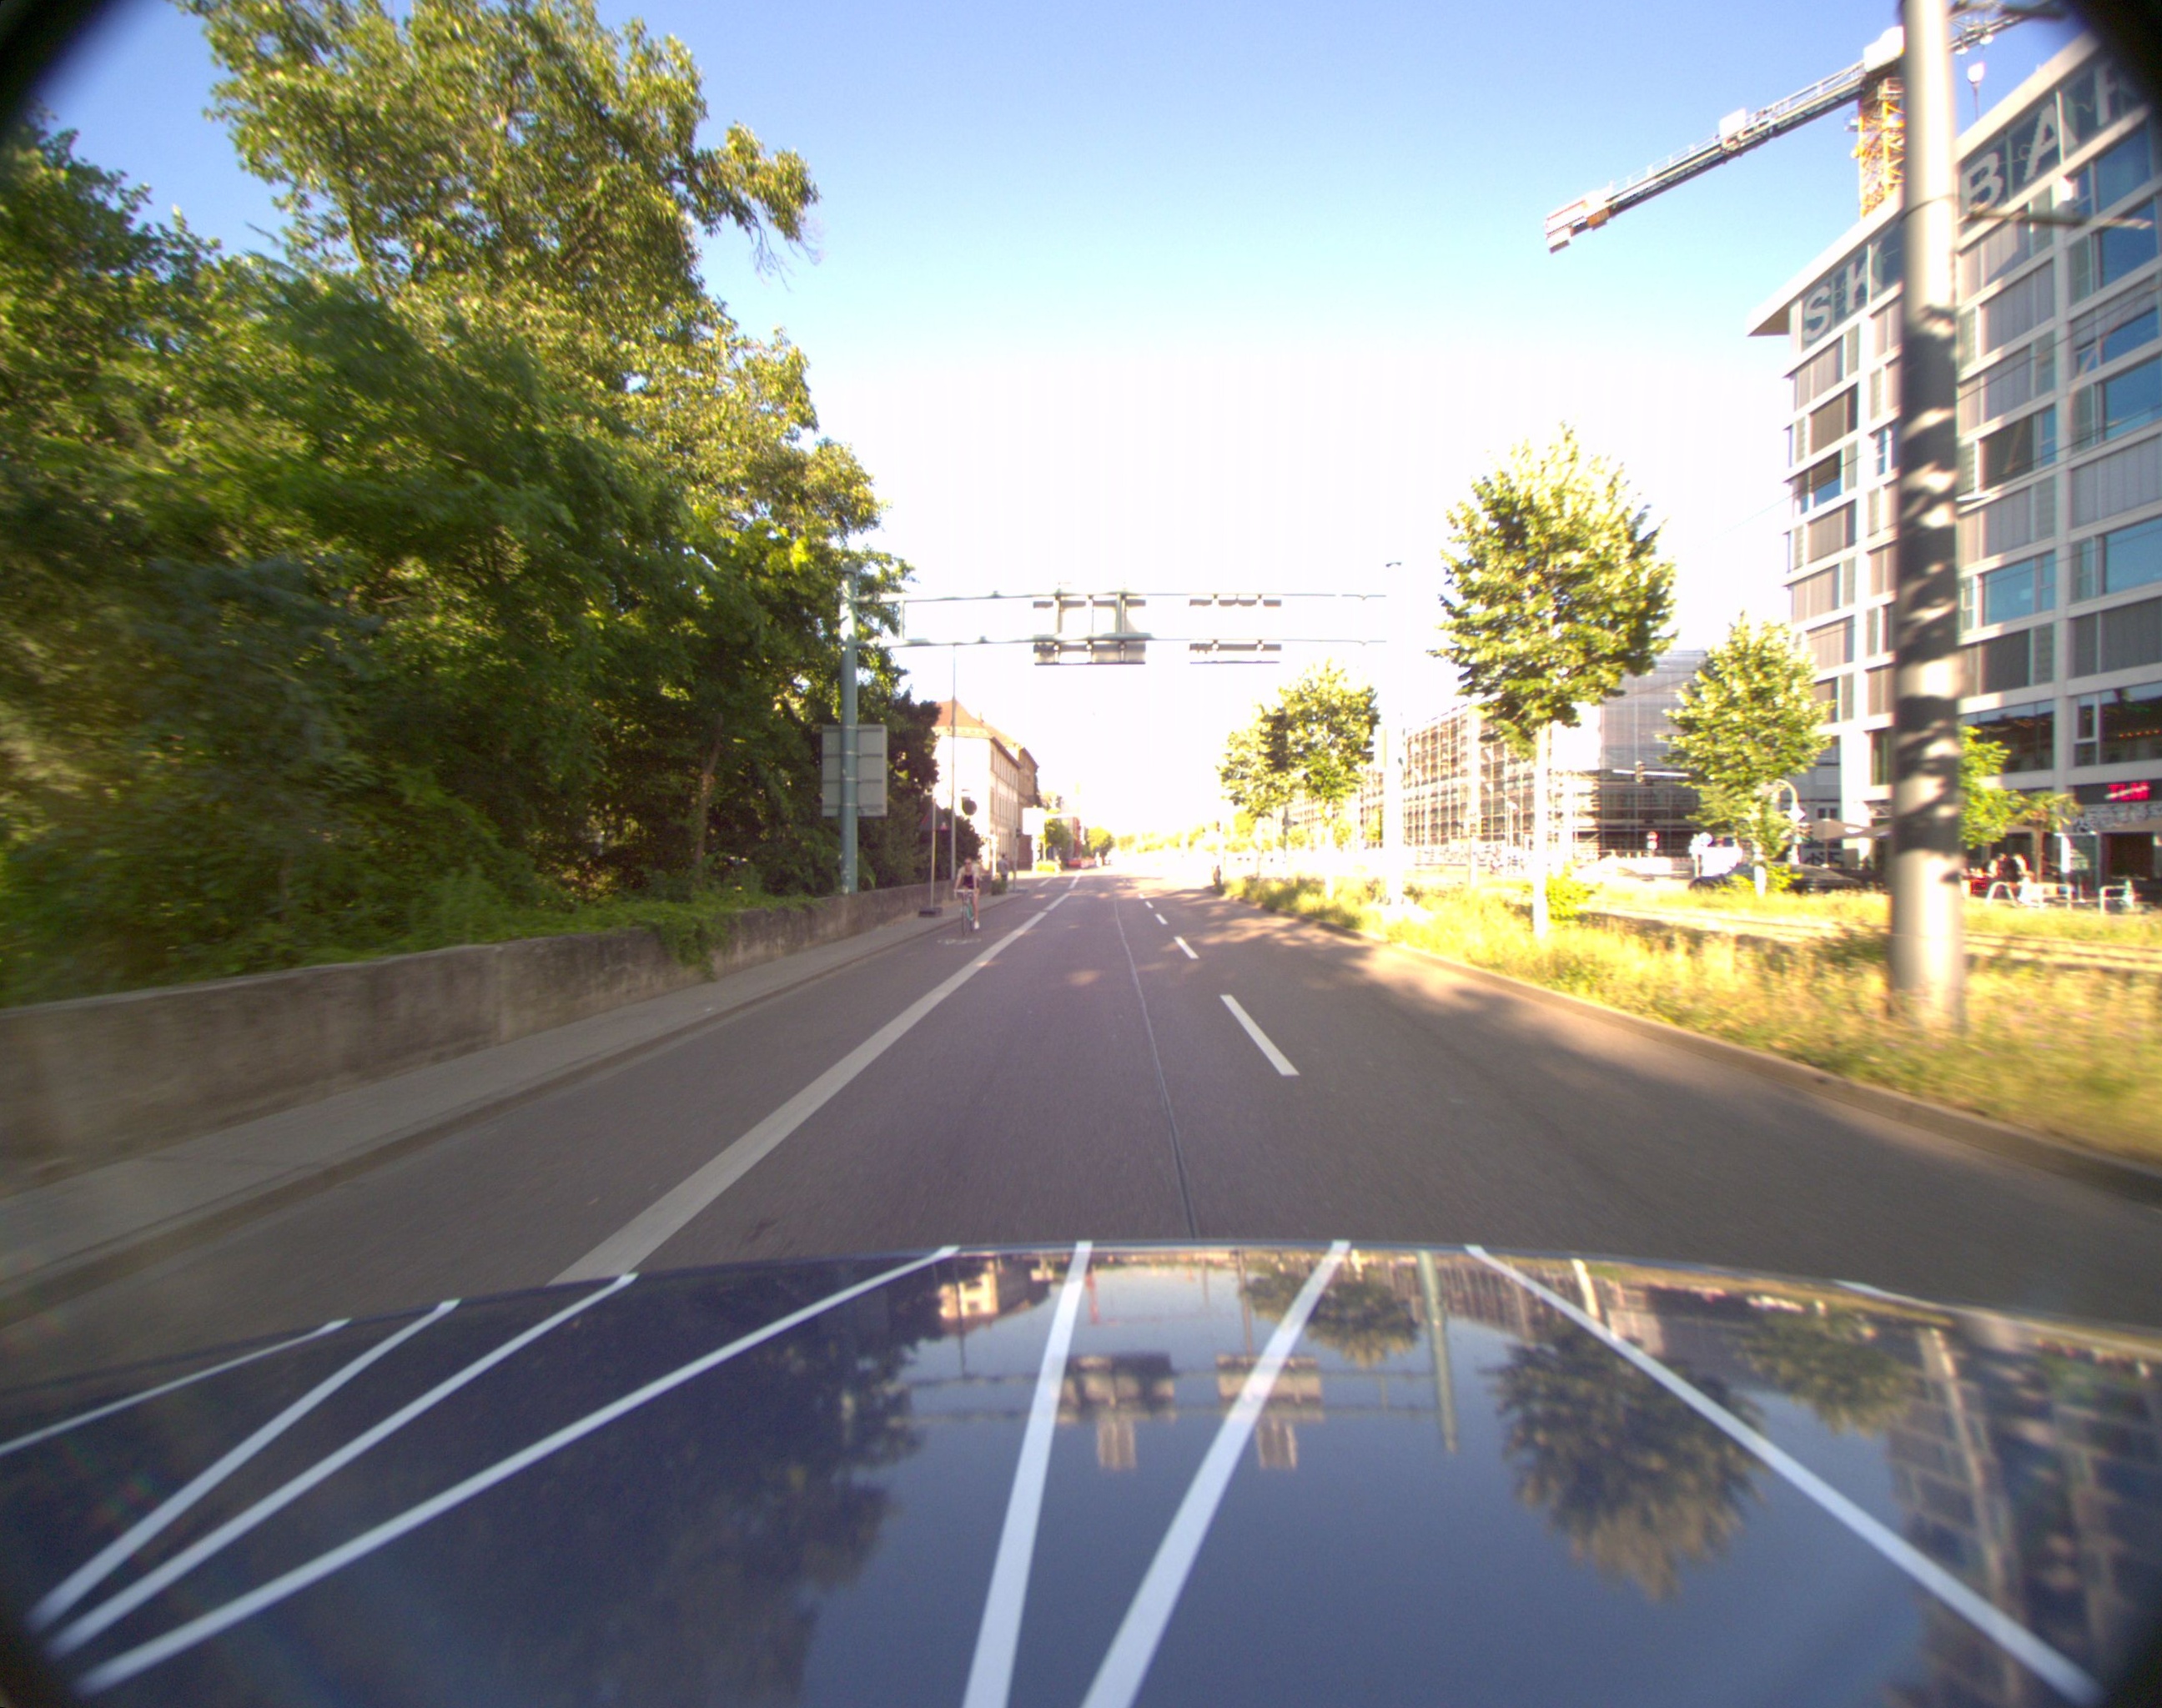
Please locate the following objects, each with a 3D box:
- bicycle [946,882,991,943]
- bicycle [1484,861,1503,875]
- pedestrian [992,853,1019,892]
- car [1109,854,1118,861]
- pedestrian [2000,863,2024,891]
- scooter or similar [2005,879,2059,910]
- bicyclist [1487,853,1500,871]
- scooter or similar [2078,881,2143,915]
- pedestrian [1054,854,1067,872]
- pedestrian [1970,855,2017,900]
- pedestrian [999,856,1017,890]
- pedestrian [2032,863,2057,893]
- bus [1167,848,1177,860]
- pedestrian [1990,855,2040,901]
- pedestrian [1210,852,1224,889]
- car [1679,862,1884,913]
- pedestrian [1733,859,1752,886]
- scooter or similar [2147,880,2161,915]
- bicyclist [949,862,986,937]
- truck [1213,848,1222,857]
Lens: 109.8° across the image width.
[{"bbox_3d":[-2.289,1.171,15.655,0.522,1.091,1.843,-3,0,2],"label":"bicycle"},{"bbox_3d":[33.870,1.124,62.409,0.626,1.060,2.079,0,0,6],"label":"bicycle"},{"bbox_3d":[-3.545,0.847,35.702,0.861,1.792,0.905,2,1,-32],"label":"pedestrian"},{"bbox_3d":[7.461,0.828,174.692,1.998,1.696,4.000,0,0,1],"label":"car"},{"bbox_3d":[40.317,1.002,32.913,0.432,1.215,0.497,0,1,3],"label":"pedestrian"},{"bbox_3d":[32.460,1.379,25.945,1.246,1.000,0.406,0,1,3],"label":"scooter or similar"},{"bbox_3d":[33.857,0.659,62.385,0.626,1.456,0.851,0,1,6],"label":"bicyclist"},{"bbox_3d":[31.962,1.372,23.592,1.246,1.013,0.511,0,1,3],"label":"scooter or similar"},{"bbox_3d":[-1.957,0.816,71.597,0.924,1.639,0.767,1,1,41],"label":"pedestrian"},{"bbox_3d":[35.858,0.907,29.879,0.870,1.711,0.804,0,1,12],"label":"pedestrian"},{"bbox_3d":[-3.515,0.901,36.440,0.768,1.627,0.769,2,1,-7],"label":"pedestrian"},{"bbox_3d":[40.350,0.996,31.826,0.432,1.215,0.497,0,1,3],"label":"pedestrian"},{"bbox_3d":[25.668,-0.034,214.323,2.722,3.203,8.660,0,0,6],"label":"bus"},{"bbox_3d":[35.749,0.911,29.088,0.870,1.711,0.804,0,1,12],"label":"pedestrian"},{"bbox_3d":[6.193,0.746,34.626,0.599,1.689,0.714,0,1,7],"label":"pedestrian"},{"bbox_3d":[21.169,0.938,23.317,1.895,1.336,4.851,0,0,2],"label":"car"},{"bbox_3d":[36.558,0.998,42.012,0.588,1.490,0.576,0,1,-19],"label":"pedestrian"},{"bbox_3d":[31.927,1.269,22.064,1.246,1.013,0.435,0,1,3],"label":"scooter or similar"},{"bbox_3d":[-2.307,0.906,15.577,0.553,1.482,1.081,0,0,2],"label":"bicyclist"},{"bbox_3d":[40.483,-0.481,225.858,2.143,2.559,4.741,0,0,4],"label":"truck"}]
